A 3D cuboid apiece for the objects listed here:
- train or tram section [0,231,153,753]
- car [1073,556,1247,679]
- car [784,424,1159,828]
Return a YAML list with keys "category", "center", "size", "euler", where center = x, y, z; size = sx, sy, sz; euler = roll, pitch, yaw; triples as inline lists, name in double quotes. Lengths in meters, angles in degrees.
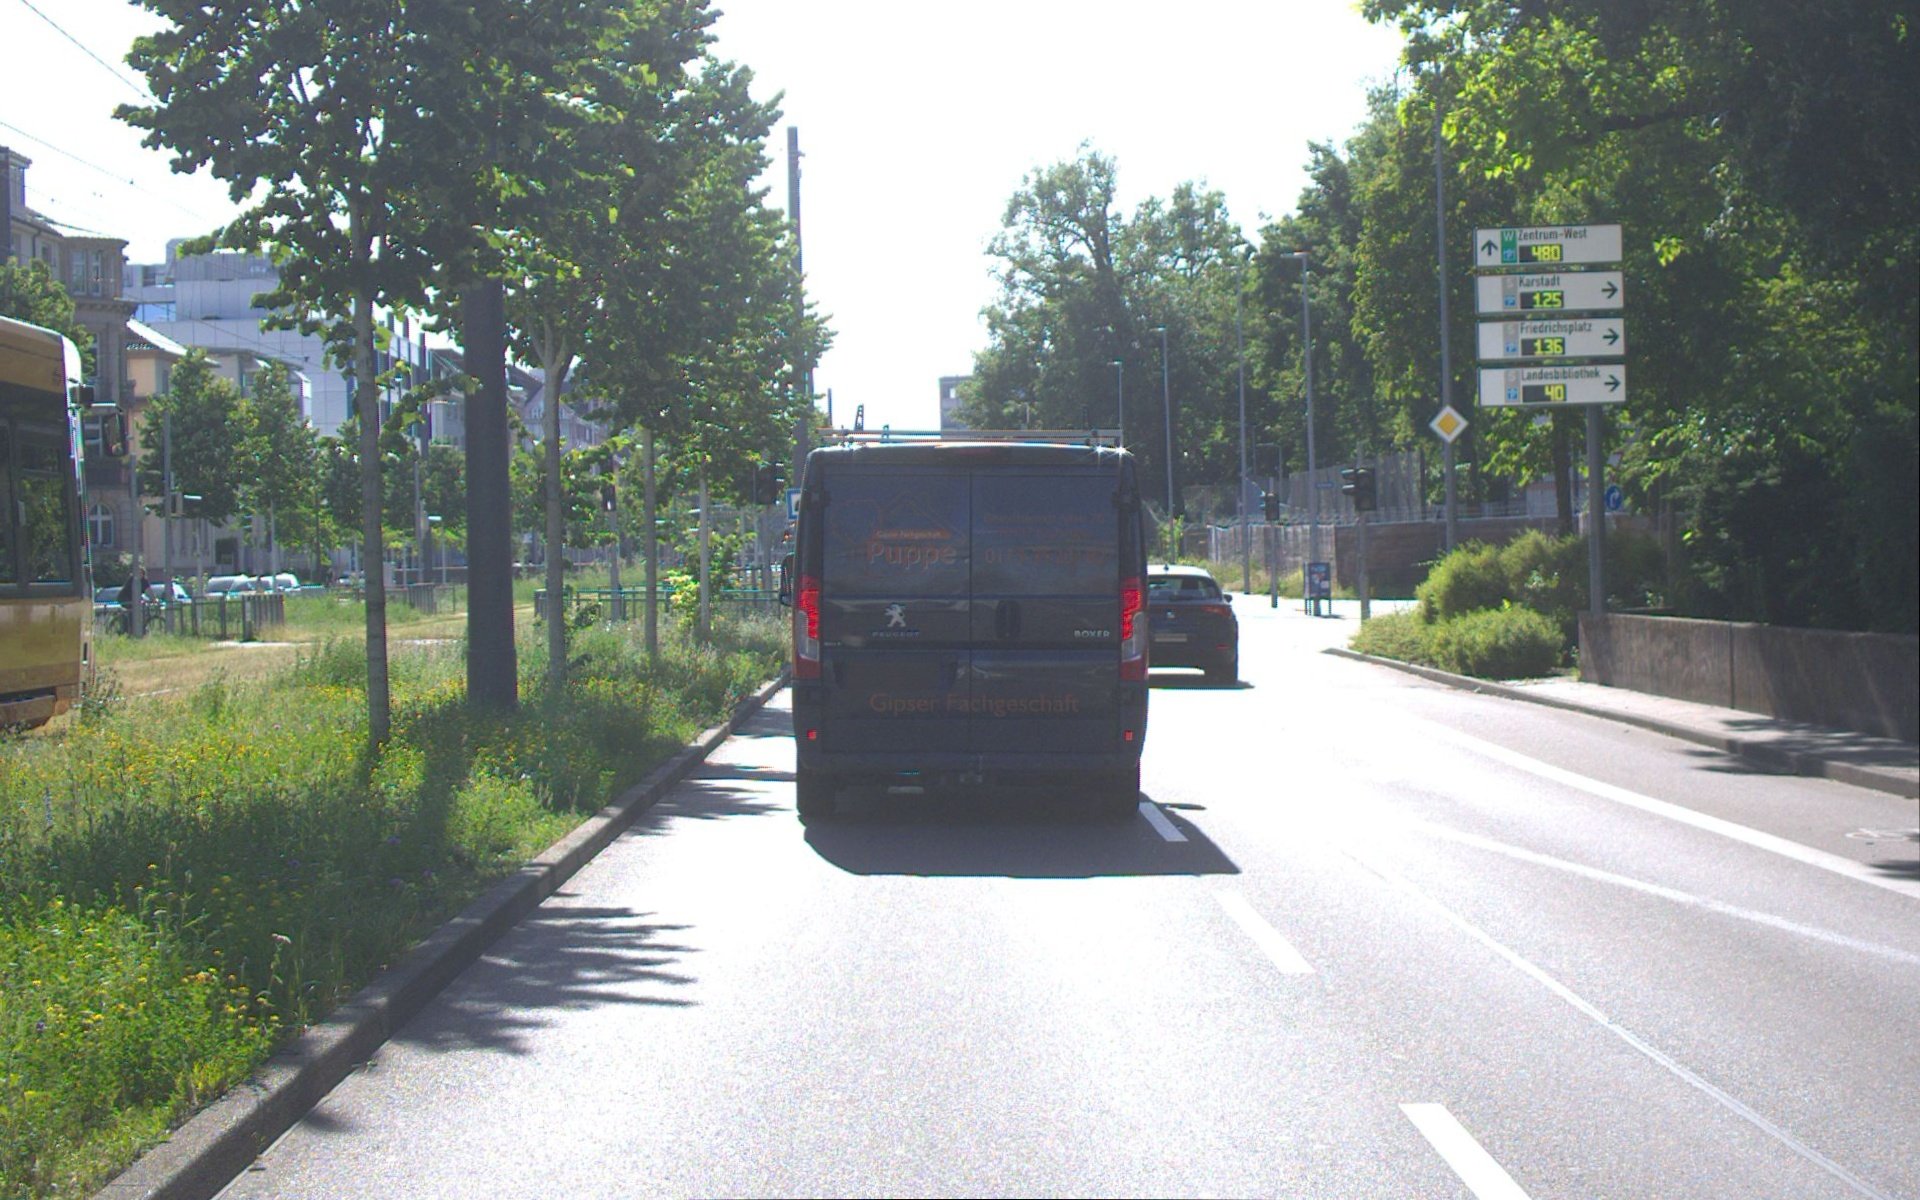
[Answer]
- category: "train or tram section"
  center: [-7.712, -0.739, 22.966]
  size: [1.993, 3.656, 11.684]
  euler: [0, 1, -1]
- category: "car"
  center: [2.461, 0.188, 43.185]
  size: [1.763, 1.457, 4.001]
  euler: [0, 1, -3]
- category: "car"
  center: [0.018, 0.117, 21.150]
  size: [2.082, 2.241, 4.000]
  euler: [0, 1, -1]
